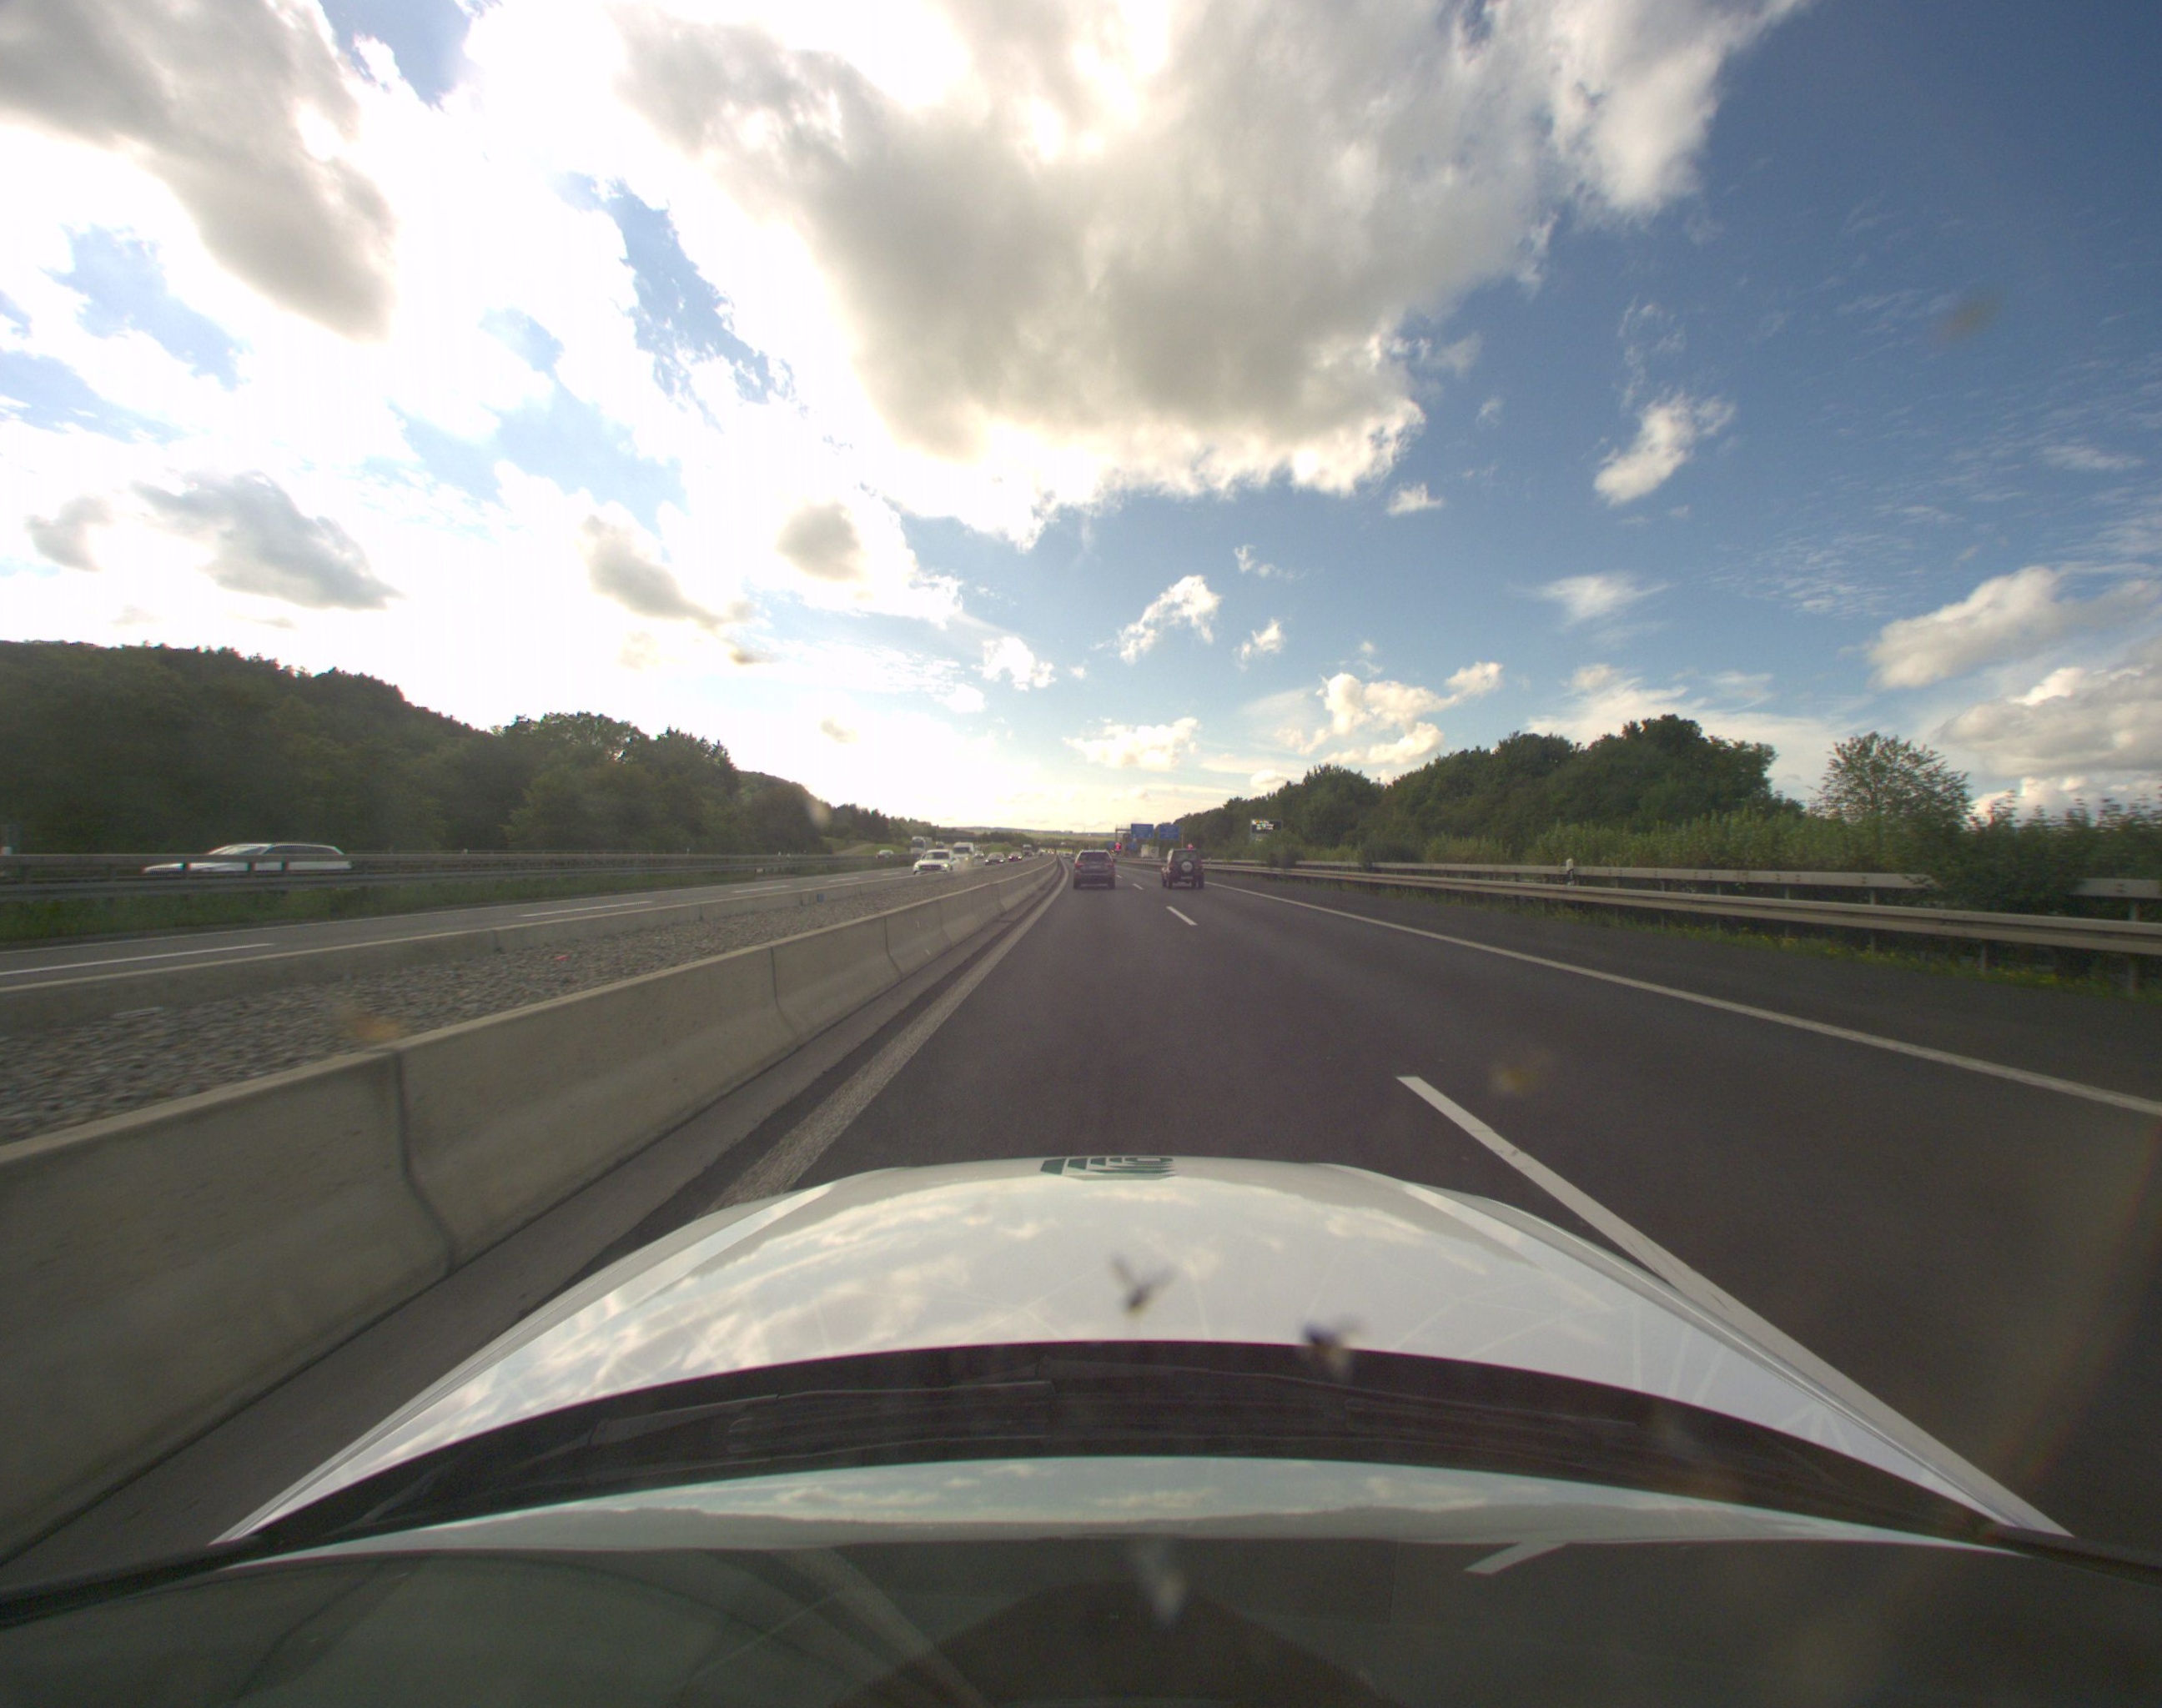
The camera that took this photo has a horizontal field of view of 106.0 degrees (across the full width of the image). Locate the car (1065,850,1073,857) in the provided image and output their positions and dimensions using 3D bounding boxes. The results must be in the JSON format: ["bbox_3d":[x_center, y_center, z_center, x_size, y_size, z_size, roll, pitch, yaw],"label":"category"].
[{"bbox_3d":[-3.229,-0.180,216.788,1.990,1.684,3.993,0,-2,-4],"label":"car"}]

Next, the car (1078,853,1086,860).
[{"bbox_3d":[0.287,0.717,240.950,1.990,1.929,3.993,0,-2,-4],"label":"car"}]

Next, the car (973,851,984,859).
[{"bbox_3d":[-22.058,0.221,175.493,1.989,1.790,4.267,0,0,-4],"label":"car"}]

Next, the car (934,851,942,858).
[{"bbox_3d":[-44.055,0.171,250.677,1.990,2.013,4.264,0,0,-5],"label":"car"}]

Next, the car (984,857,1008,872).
[{"bbox_3d":[-8.499,1.061,81.935,1.919,1.435,4.777,0,0,0],"label":"car"}]

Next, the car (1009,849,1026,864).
[{"bbox_3d":[-8.822,0.368,113.908,1.987,2.013,4.272,1,0,0],"label":"car"}]

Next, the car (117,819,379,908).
[{"bbox_3d":[-23.203,0.236,23.079,1.986,2.233,5.148,1,0,2],"label":"car"}]

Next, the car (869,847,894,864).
[{"bbox_3d":[-24.880,0.185,101.752,1.987,2.013,4.272,1,0,0],"label":"car"}]

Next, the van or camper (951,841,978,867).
[{"bbox_3d":[-12.576,-0.003,88.390,1.980,2.624,6.862,0,0,0],"label":"van or camper"}]

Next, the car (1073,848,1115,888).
[{"bbox_3d":[0.605,0.632,37.647,1.811,1.736,5.187,0,-1,1],"label":"car"}]

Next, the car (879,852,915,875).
[{"bbox_3d":[-13.693,0.669,60.854,1.720,1.699,4.152,0,0,0],"label":"car"}]

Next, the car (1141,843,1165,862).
[{"bbox_3d":[17.122,-0.361,195.281,4.713,4.266,11.402,1,0,0],"label":"car"}]

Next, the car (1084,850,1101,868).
[{"bbox_3d":[1.375,0.587,99.427,2.023,2.151,4.001,0,0,1],"label":"car"}]

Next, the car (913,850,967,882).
[{"bbox_3d":[-7.390,0.612,43.120,1.836,1.611,5.136,0,0,1],"label":"car"}]

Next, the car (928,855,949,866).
[{"bbox_3d":[-16.851,0.758,96.306,1.621,1.293,4.754,0,0,0],"label":"car"}]

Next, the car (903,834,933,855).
[{"bbox_3d":[-32.038,-1.777,160.884,3.809,4.080,14.808,0,0,-4],"label":"car"}]

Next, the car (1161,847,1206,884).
[{"bbox_3d":[4.526,0.485,36.424,1.581,1.597,4.096,0,0,0],"label":"car"}]
